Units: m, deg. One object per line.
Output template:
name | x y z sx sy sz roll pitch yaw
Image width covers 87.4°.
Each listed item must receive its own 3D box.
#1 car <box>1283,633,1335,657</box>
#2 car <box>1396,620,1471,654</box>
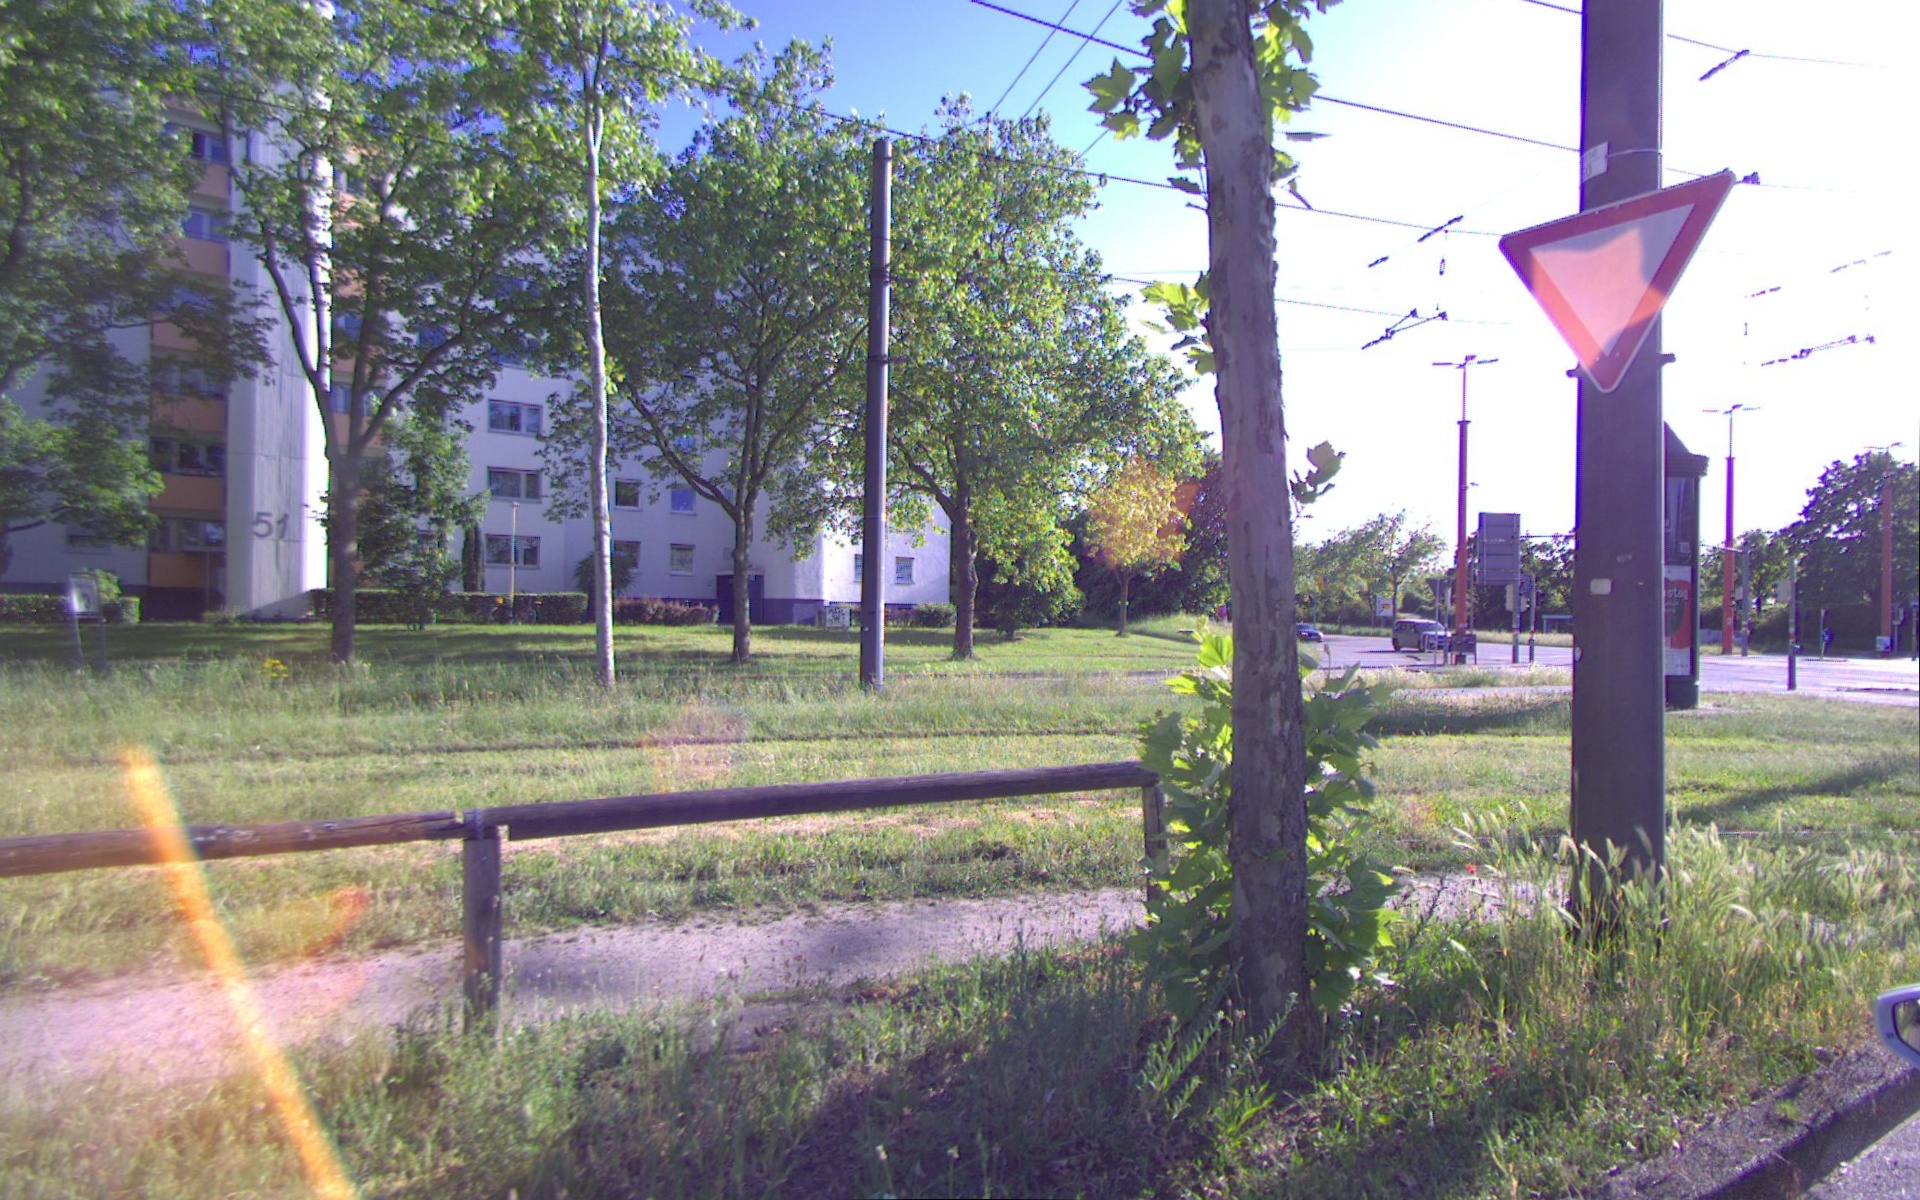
car | 25.045 3.217 72.228 1.868 1.494 4.562 0 -1 -5
car | 26.596 2.030 56.609 1.868 1.799 4.444 0 -1 -4
